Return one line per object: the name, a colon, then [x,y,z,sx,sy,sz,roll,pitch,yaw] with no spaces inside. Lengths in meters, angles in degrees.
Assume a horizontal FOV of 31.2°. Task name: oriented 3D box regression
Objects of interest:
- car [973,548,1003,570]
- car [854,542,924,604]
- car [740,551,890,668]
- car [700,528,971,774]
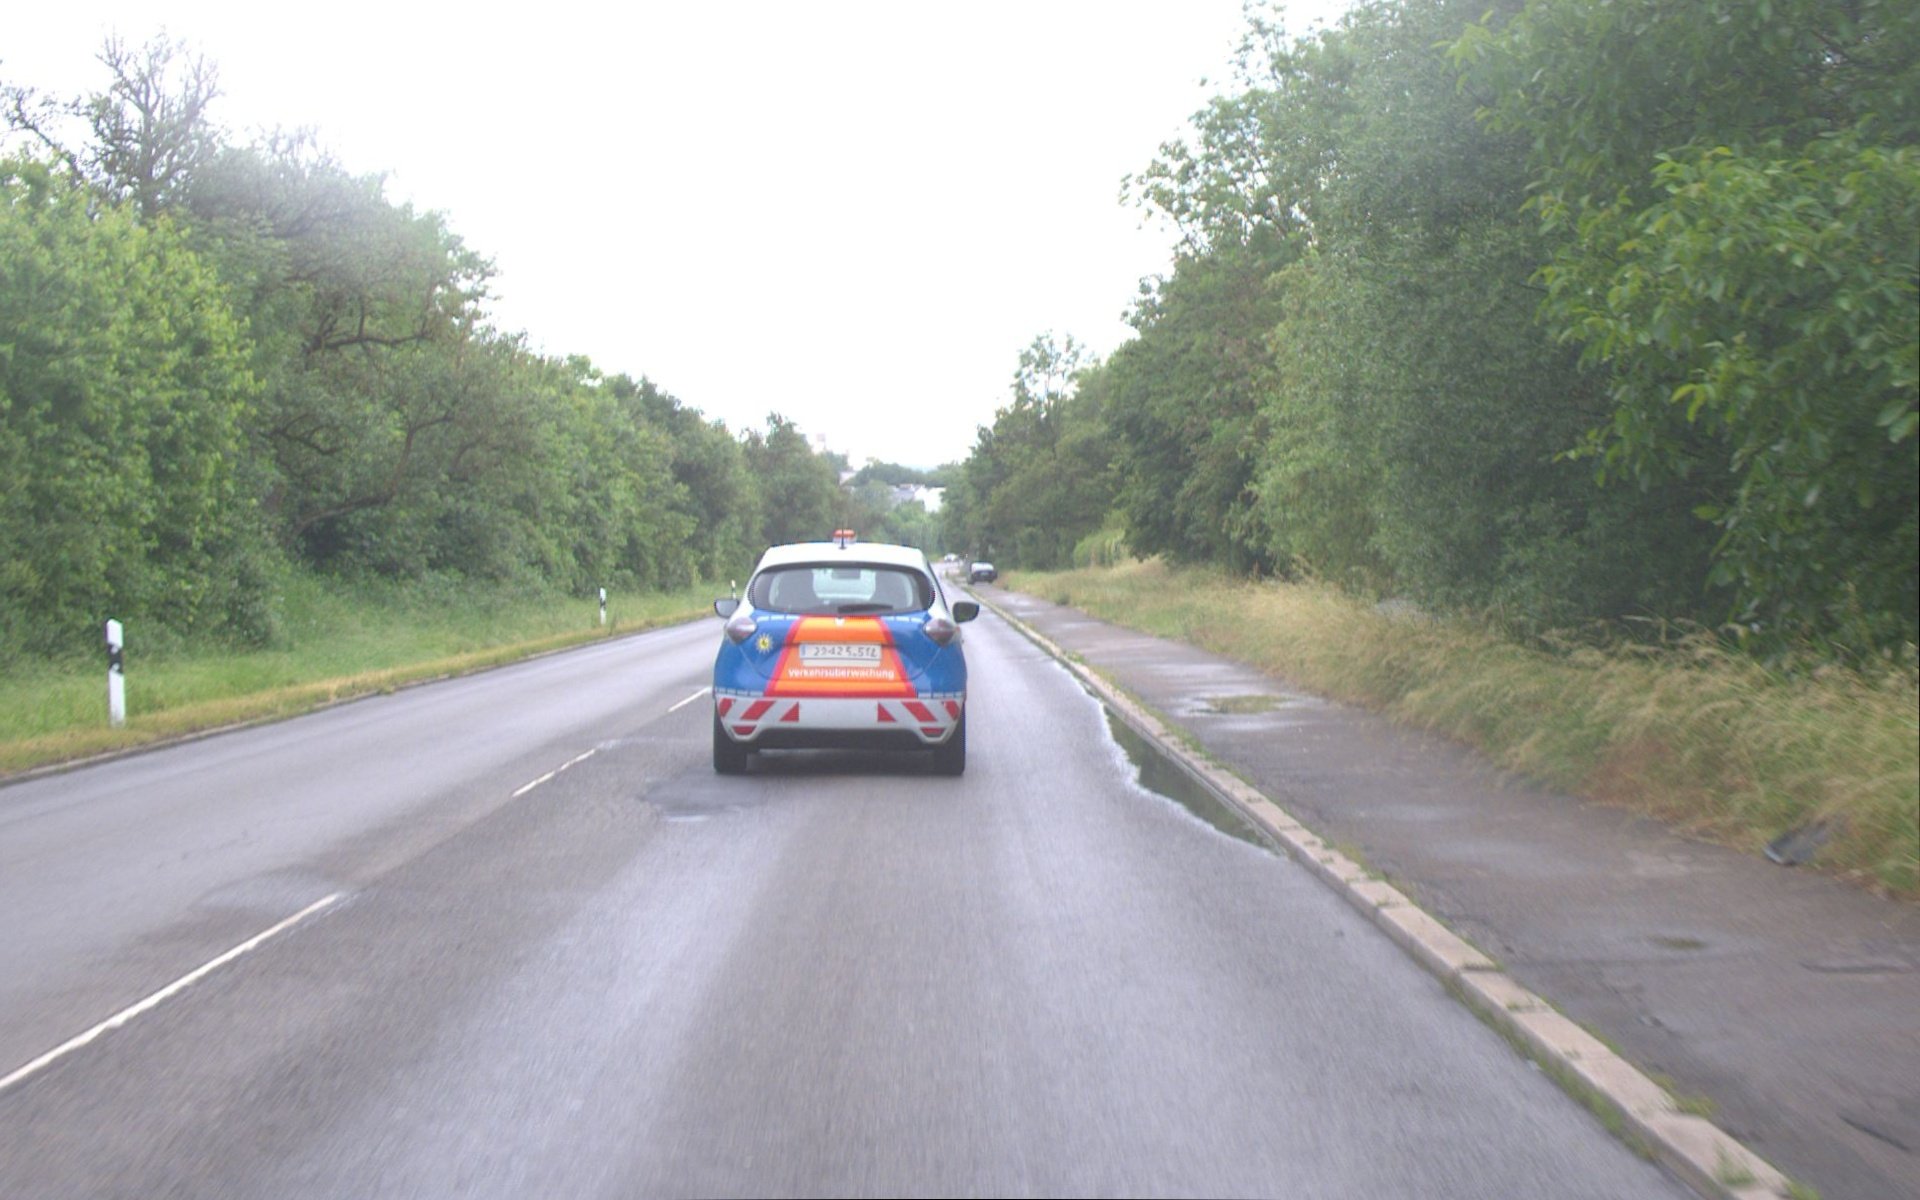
car: [1.917,-2.799,235.120,1.993,1.371,4.000,-2,1,0]
car: [-2.116,-0.831,103.957,1.941,1.717,4.063,-3,2,0]
car: [-1.709,0.087,41.541,1.598,1.282,3.476,-2,1,0]
car: [-0.830,0.294,24.321,1.752,1.550,3.793,-1,2,-1]
